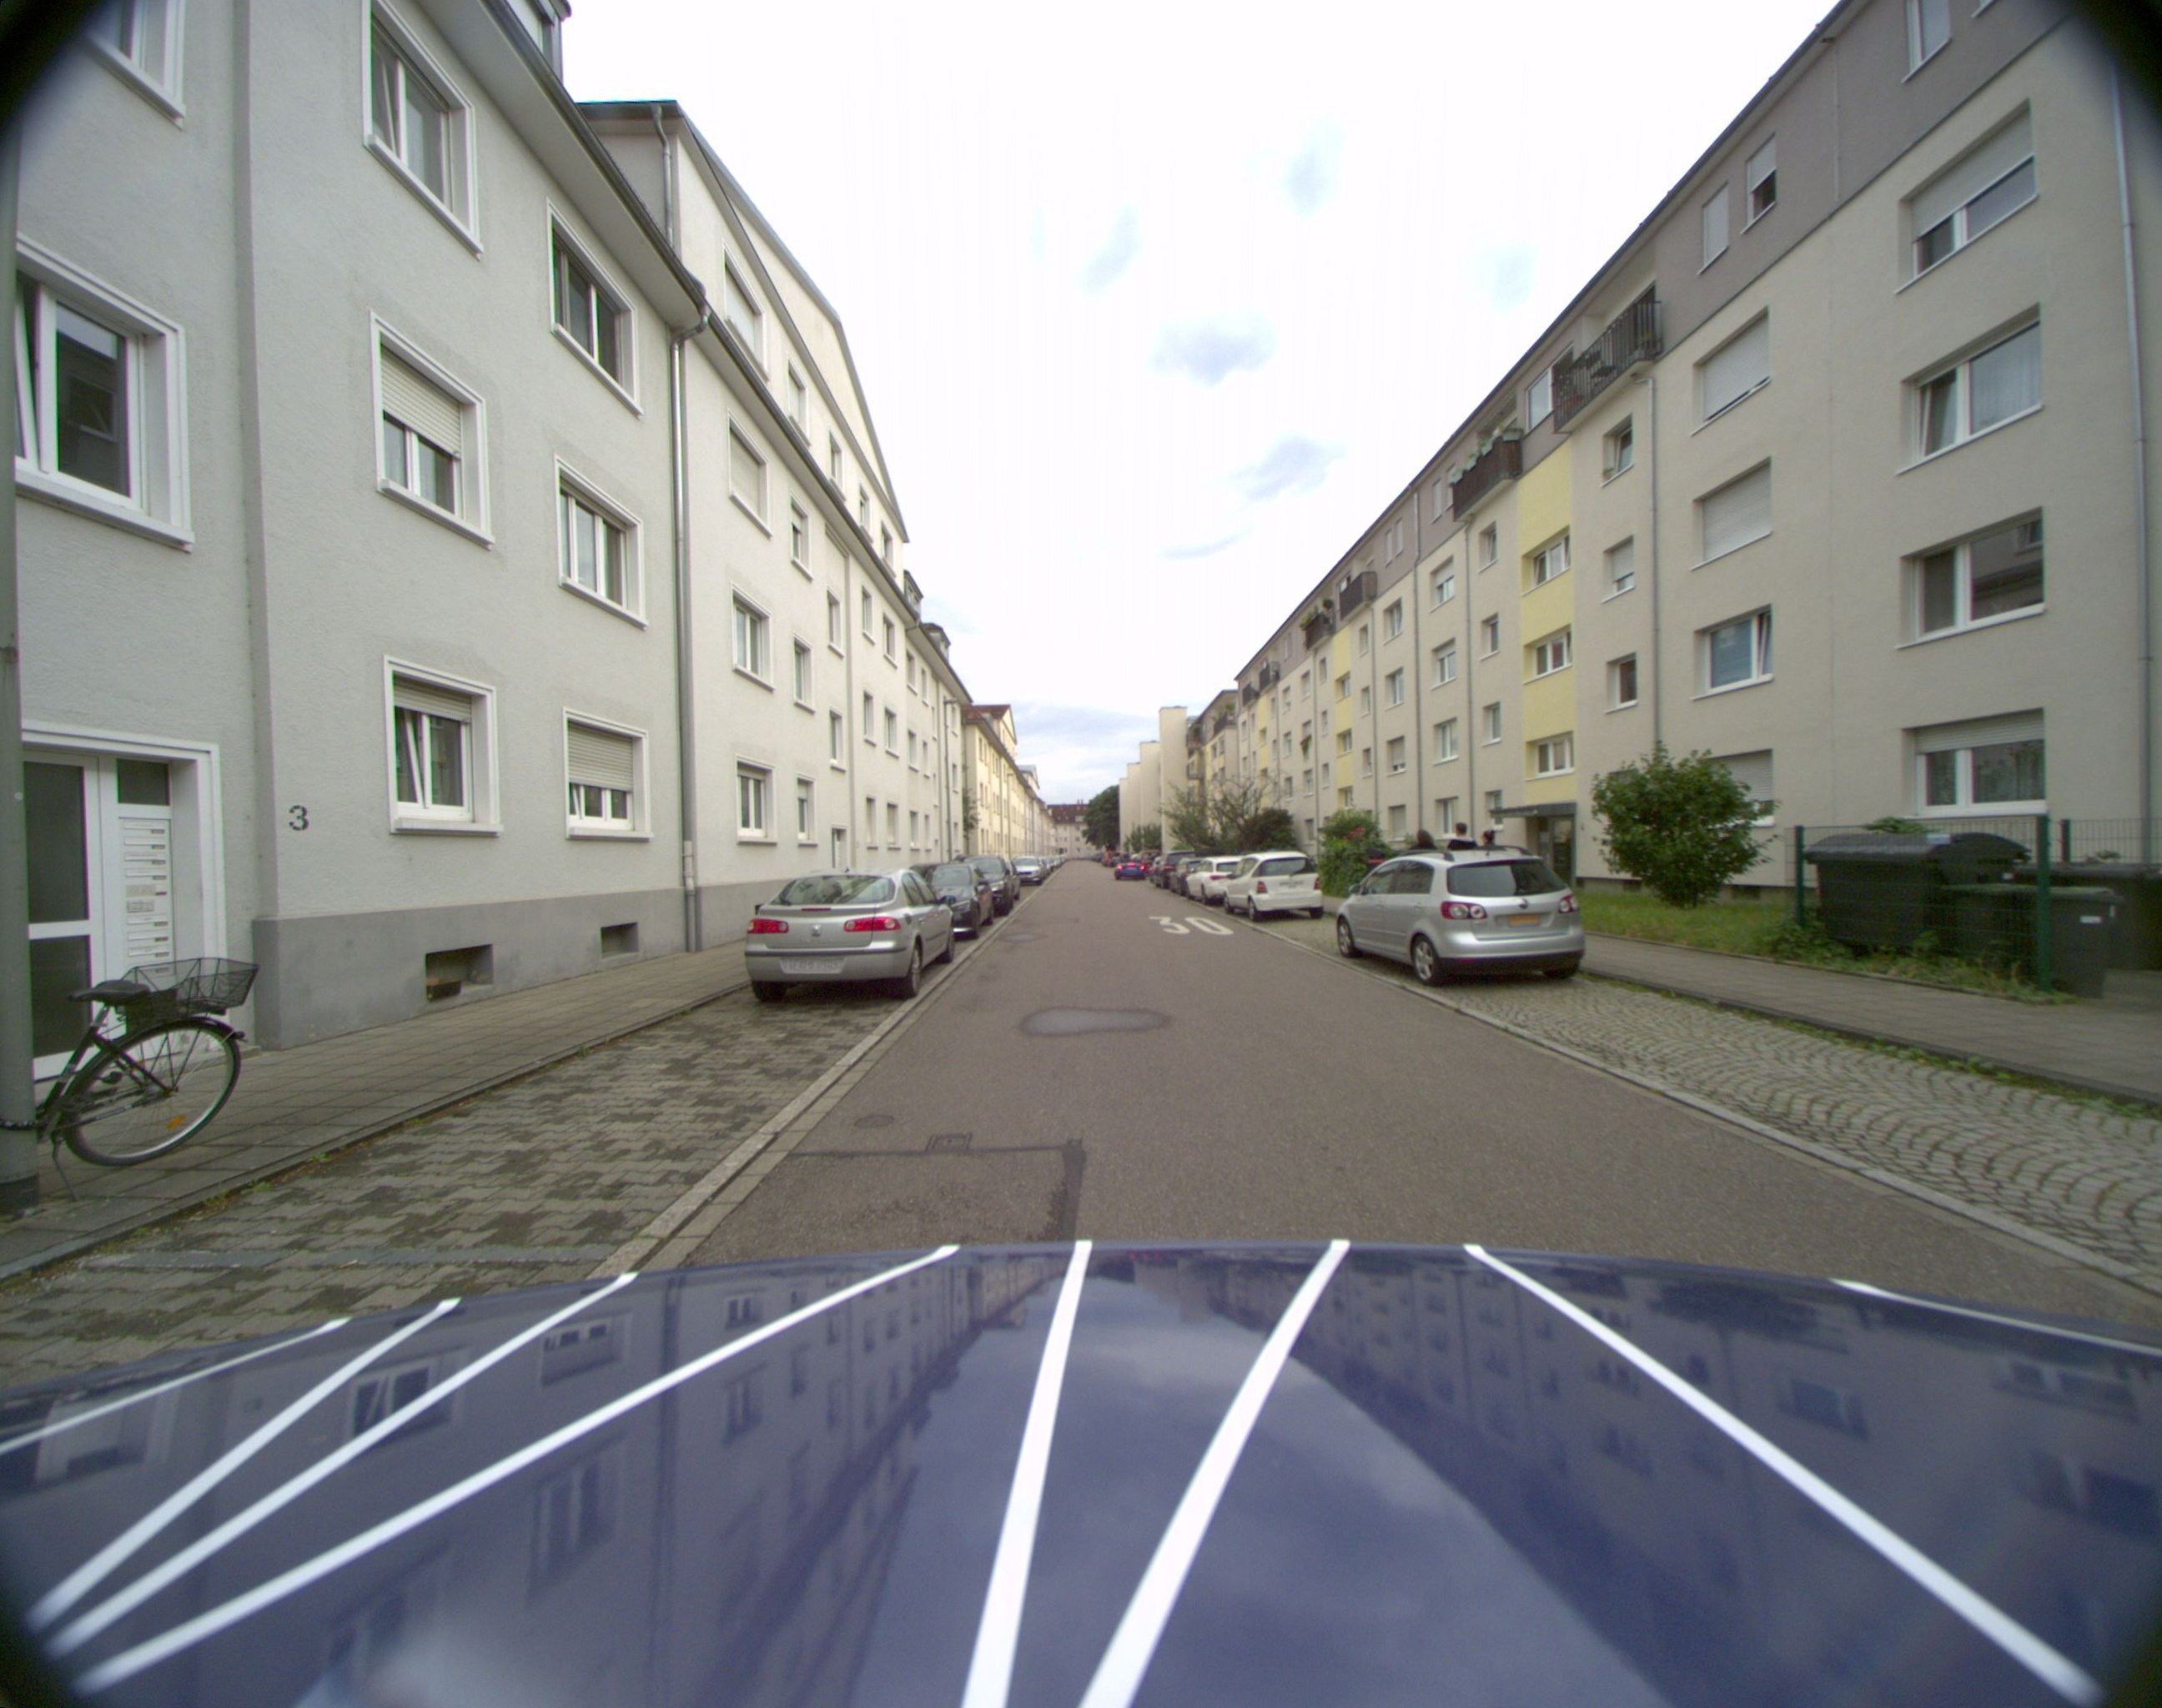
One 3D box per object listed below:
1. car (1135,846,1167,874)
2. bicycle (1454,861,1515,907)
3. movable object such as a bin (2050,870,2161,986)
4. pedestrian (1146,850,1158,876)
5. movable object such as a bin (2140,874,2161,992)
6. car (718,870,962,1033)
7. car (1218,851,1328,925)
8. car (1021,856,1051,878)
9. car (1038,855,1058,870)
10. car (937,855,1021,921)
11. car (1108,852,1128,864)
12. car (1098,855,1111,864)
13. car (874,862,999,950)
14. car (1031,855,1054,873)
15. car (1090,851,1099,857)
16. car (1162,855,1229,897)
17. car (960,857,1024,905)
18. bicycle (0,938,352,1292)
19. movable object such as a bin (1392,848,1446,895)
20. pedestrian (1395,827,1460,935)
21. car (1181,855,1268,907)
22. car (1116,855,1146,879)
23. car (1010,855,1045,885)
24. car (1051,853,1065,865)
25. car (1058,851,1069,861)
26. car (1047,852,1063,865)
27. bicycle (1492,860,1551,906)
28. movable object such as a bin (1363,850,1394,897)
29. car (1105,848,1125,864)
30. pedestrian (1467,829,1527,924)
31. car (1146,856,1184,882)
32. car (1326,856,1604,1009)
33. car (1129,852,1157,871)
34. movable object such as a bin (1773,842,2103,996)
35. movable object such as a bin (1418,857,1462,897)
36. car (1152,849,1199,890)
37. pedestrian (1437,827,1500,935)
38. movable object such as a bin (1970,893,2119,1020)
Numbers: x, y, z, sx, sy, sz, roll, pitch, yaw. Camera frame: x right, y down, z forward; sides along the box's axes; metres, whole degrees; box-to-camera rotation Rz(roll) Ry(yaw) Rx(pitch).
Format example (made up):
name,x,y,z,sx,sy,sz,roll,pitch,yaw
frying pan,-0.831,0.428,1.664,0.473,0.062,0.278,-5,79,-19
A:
name,x,y,z,sx,sy,sz,roll,pitch,yaw
car,4.858,0.422,53.245,1.707,1.795,3.541,-1,0,-3
bicycle,9.634,0.702,18.206,0.479,1.018,1.754,-1,0,-1
movable object such as a bin,10.678,0.732,7.744,0.844,1.110,0.598,-1,0,-3
pedestrian,4.528,0.553,48.418,0.603,1.657,0.622,-1,1,-3
movable object such as a bin,10.703,0.746,7.080,0.844,1.110,0.598,-1,0,-3
car,-2.666,0.985,9.531,1.737,1.454,4.430,-1,0,-2
car,4.688,0.772,19.066,1.689,1.629,3.727,-1,0,-2
car,-2.966,0.840,50.621,1.737,1.418,4.217,-1,0,-1
car,-2.979,0.760,69.573,1.737,1.363,4.217,-1,0,-2
car,-2.681,0.851,20.870,1.853,1.589,4.159,-1,0,-2
car,4.481,0.497,93.398,2.013,1.436,4.196,-1,0,-3
car,4.263,0.963,138.399,1.746,1.534,3.636,-1,0,-6
car,-2.750,0.927,15.399,1.786,1.454,4.322,-1,0,-2
car,-3.089,0.768,61.862,1.737,1.402,4.217,-1,0,-2
car,3.326,0.040,187.793,1.746,1.534,3.636,-2,0,-6
car,4.421,0.798,29.851,1.730,1.445,4.481,-1,0,-3
car,-2.947,0.855,25.928,1.737,1.478,3.756,-1,0,0
bicycle,-4.475,1.072,3.309,0.750,1.193,1.895,-1,0,0
movable object such as a bin,10.419,0.513,23.450,1.060,1.367,1.188,-2,2,-5
pedestrian,6.295,0.474,13.851,0.642,1.853,0.974,-3,1,0
car,4.527,0.806,24.669,1.723,1.501,4.686,-1,0,-3
car,3.126,0.800,47.893,1.680,1.307,3.907,-1,1,1
car,-2.903,0.828,41.708,1.737,1.538,3.676,-1,1,-2
car,-3.018,0.621,98.543,1.737,1.443,4.217,-1,0,-2
car,-2.991,0.290,127.568,1.737,1.670,3.591,-1,0,-2
car,-3.012,0.469,88.749,1.737,1.443,4.217,-1,0,-2
bicycle,10.521,0.671,18.186,0.421,1.018,1.559,-1,0,-4
movable object such as a bin,8.967,0.577,22.928,0.659,1.360,0.587,-2,2,-4
car,4.393,0.248,99.632,2.188,2.019,4.422,-1,0,-3
pedestrian,7.480,0.402,13.678,0.616,1.647,0.803,-1,1,0
car,4.688,0.813,42.692,1.575,1.389,3.541,-1,0,-3
car,4.761,0.854,10.127,1.658,1.541,3.915,-3,0,0
car,4.797,0.565,59.433,1.707,1.436,3.541,-1,0,-3
movable object such as a bin,8.898,0.622,8.048,1.593,1.412,1.671,-2,0,-1
movable object such as a bin,10.566,0.662,22.386,0.871,1.103,0.787,-2,2,-4
car,4.394,0.695,35.879,1.575,1.769,4.451,-1,0,-1
pedestrian,6.847,0.463,13.458,0.708,1.843,0.763,-1,1,0
movable object such as a bin,8.433,0.872,6.671,0.538,1.027,0.598,-1,0,-2
